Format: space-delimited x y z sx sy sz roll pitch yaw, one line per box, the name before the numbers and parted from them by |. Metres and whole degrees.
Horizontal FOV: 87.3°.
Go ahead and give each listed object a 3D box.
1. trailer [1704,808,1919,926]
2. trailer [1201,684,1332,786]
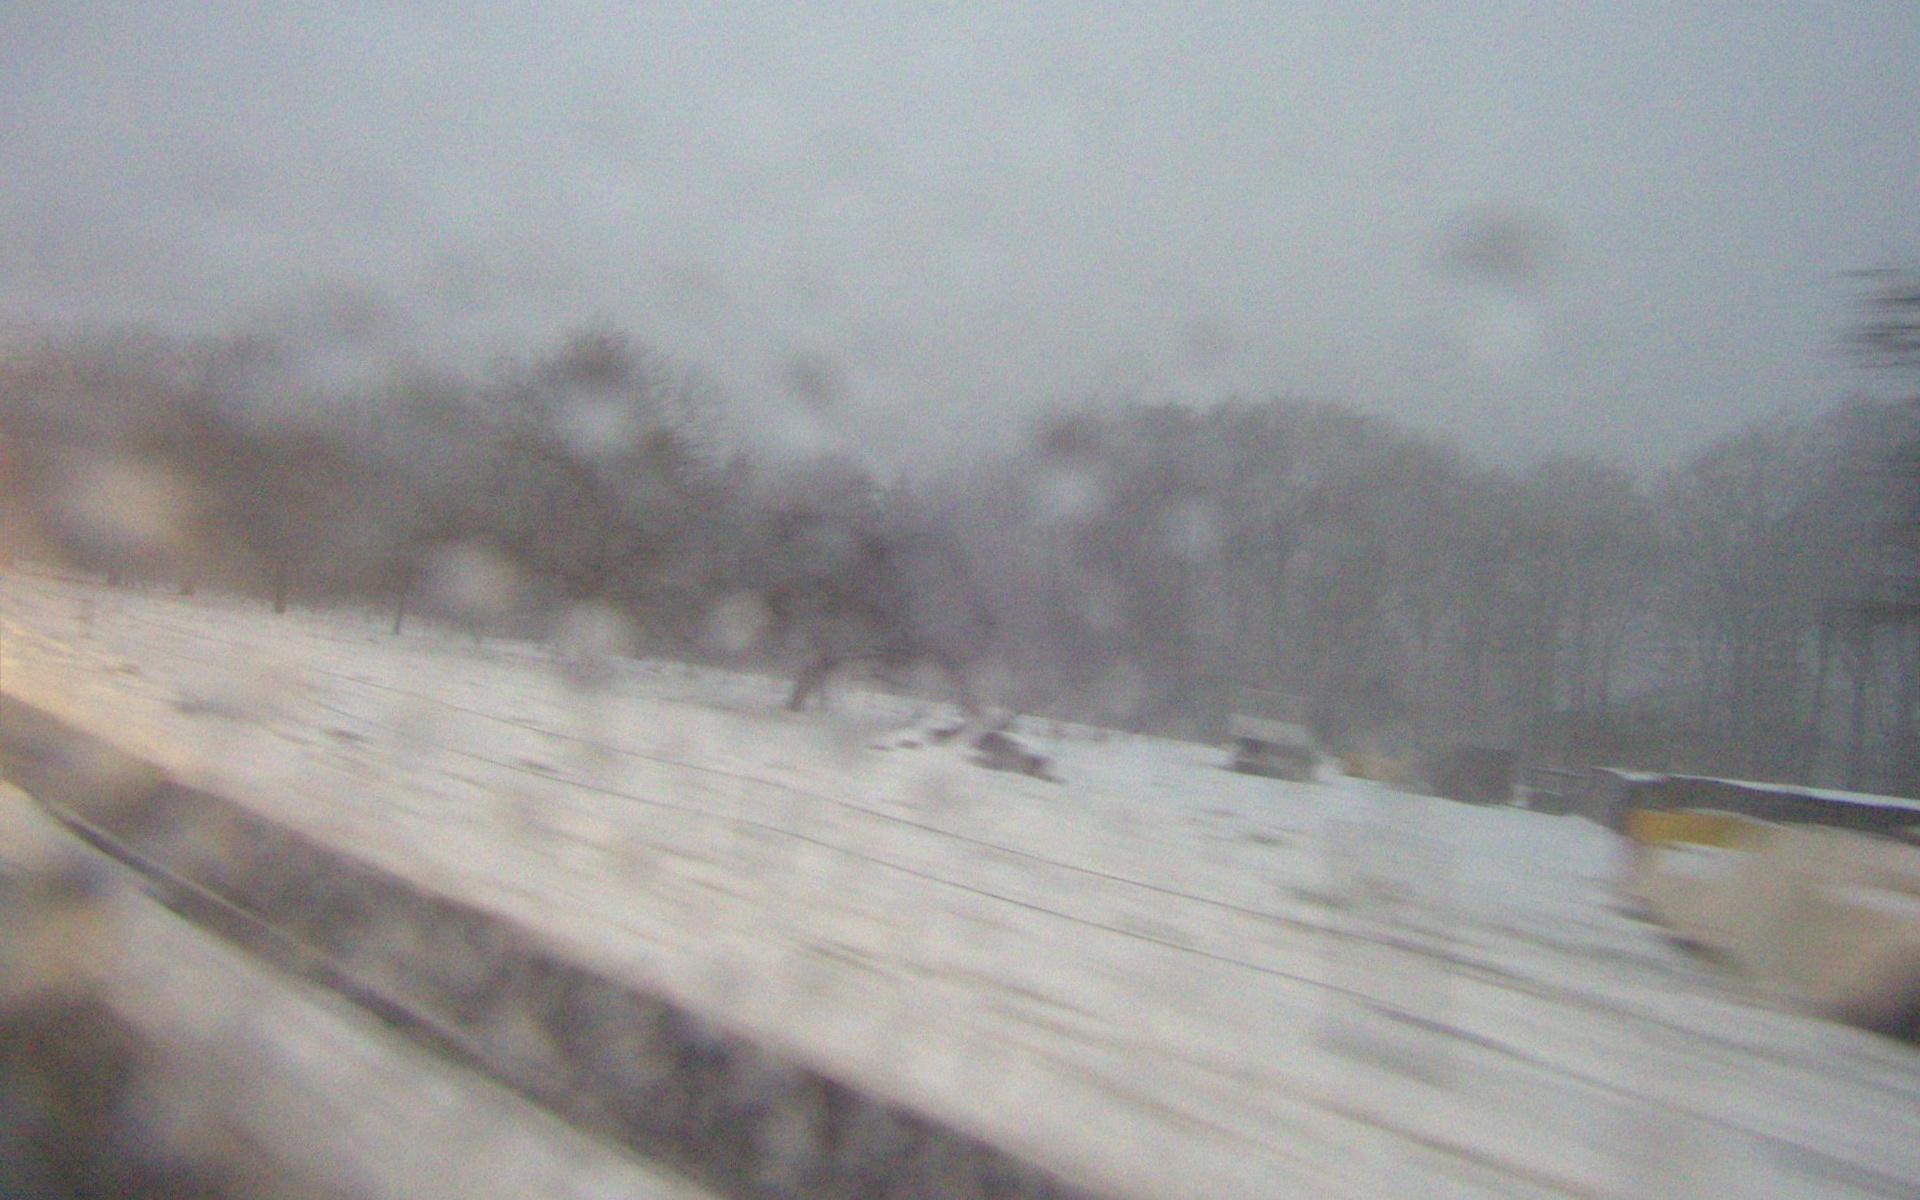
trailer | 13.268 3.969 14.550 3.595 0.957 1.848 8 0 22
trailer | 7.837 3.374 25.357 2.185 1.963 4.758 8 -3 27
